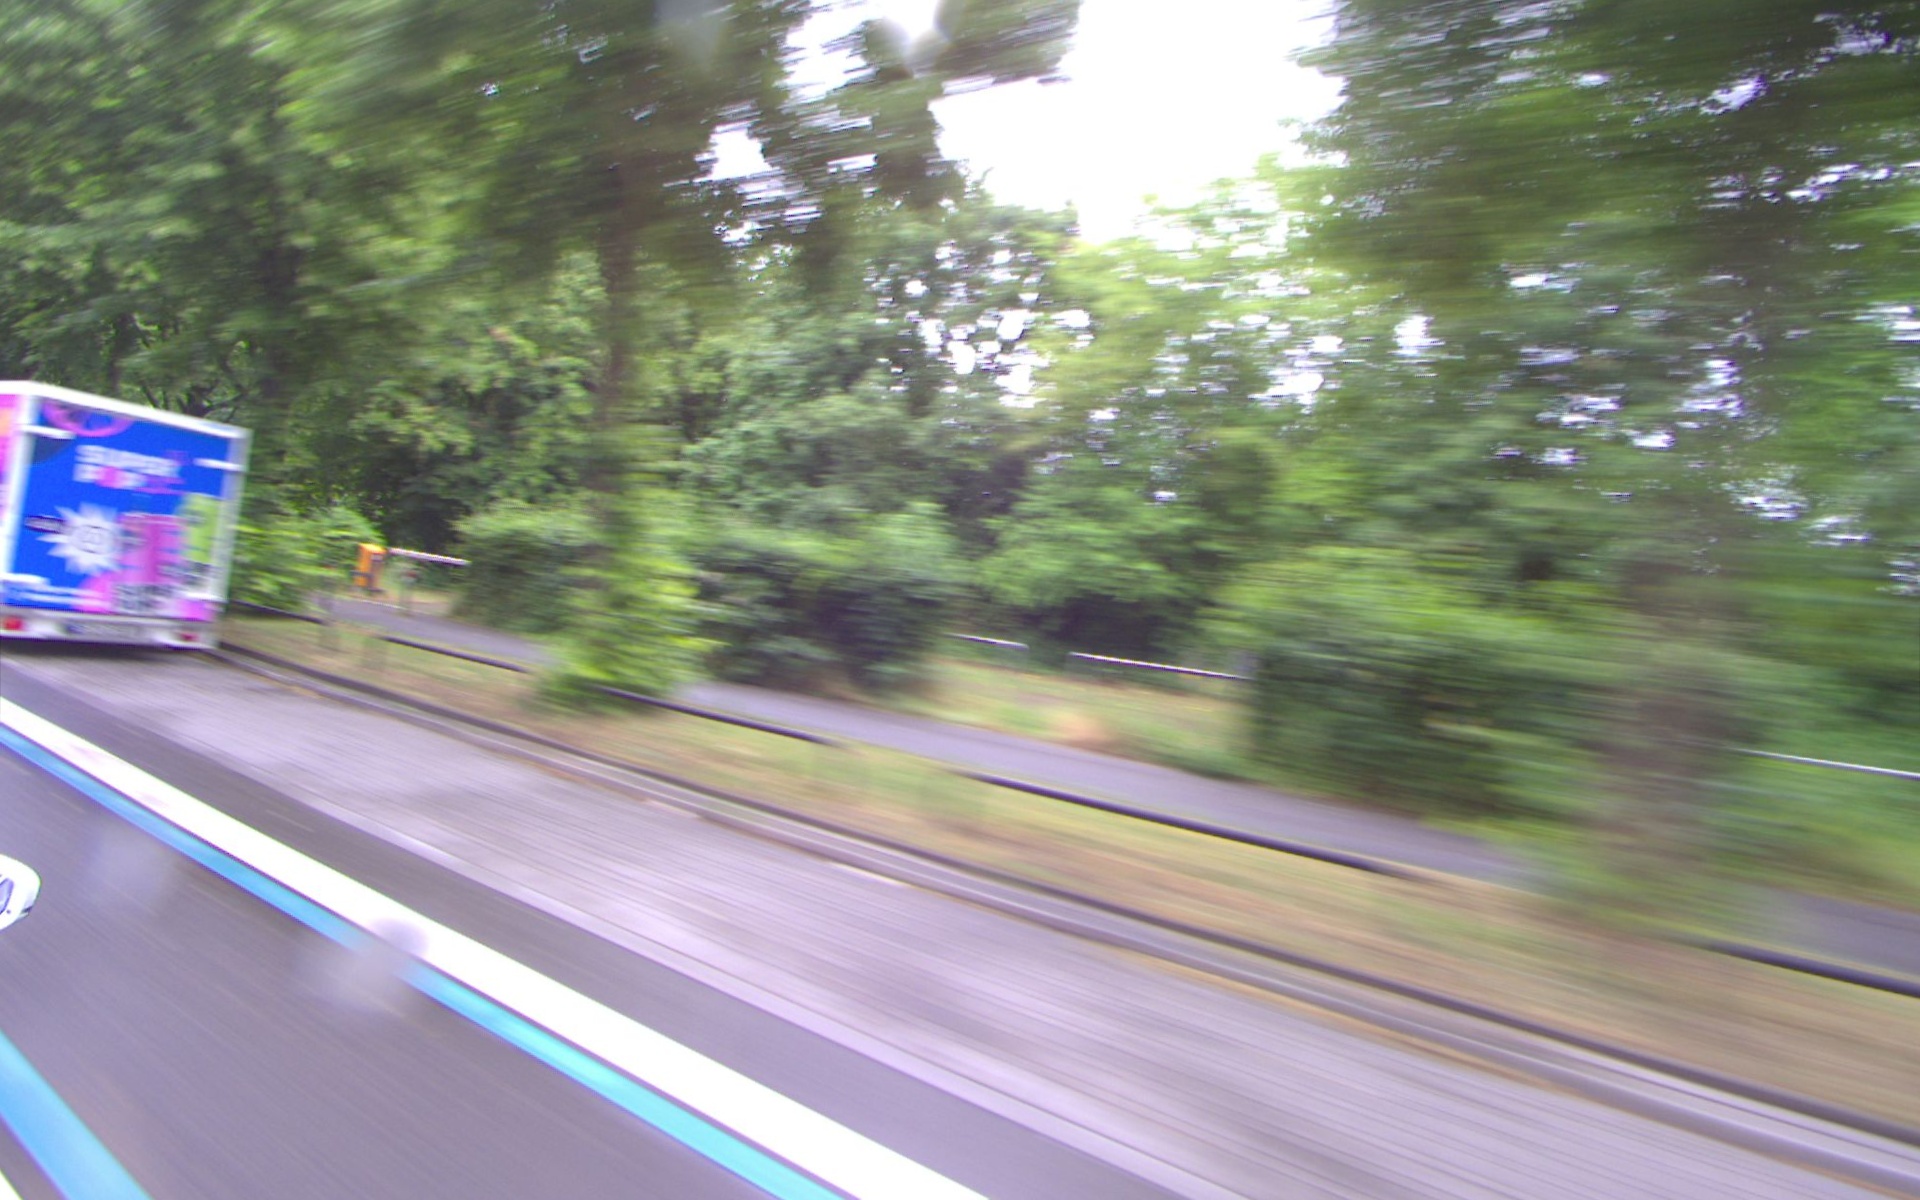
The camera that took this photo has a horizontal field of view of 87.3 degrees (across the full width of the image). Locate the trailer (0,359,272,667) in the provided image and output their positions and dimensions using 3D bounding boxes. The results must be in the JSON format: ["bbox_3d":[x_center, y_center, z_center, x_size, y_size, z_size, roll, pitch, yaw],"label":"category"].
[{"bbox_3d":[-10.460,-0.986,11.476,5.290,2.703,2.319,7,-1,34],"label":"trailer"}]

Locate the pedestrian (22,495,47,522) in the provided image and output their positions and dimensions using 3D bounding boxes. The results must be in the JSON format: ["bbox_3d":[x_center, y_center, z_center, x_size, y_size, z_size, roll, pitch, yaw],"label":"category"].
[{"bbox_3d":[-64.229,-6.344,69.831,0.881,1.753,1.136,8,-1,-33],"label":"pedestrian"}]
